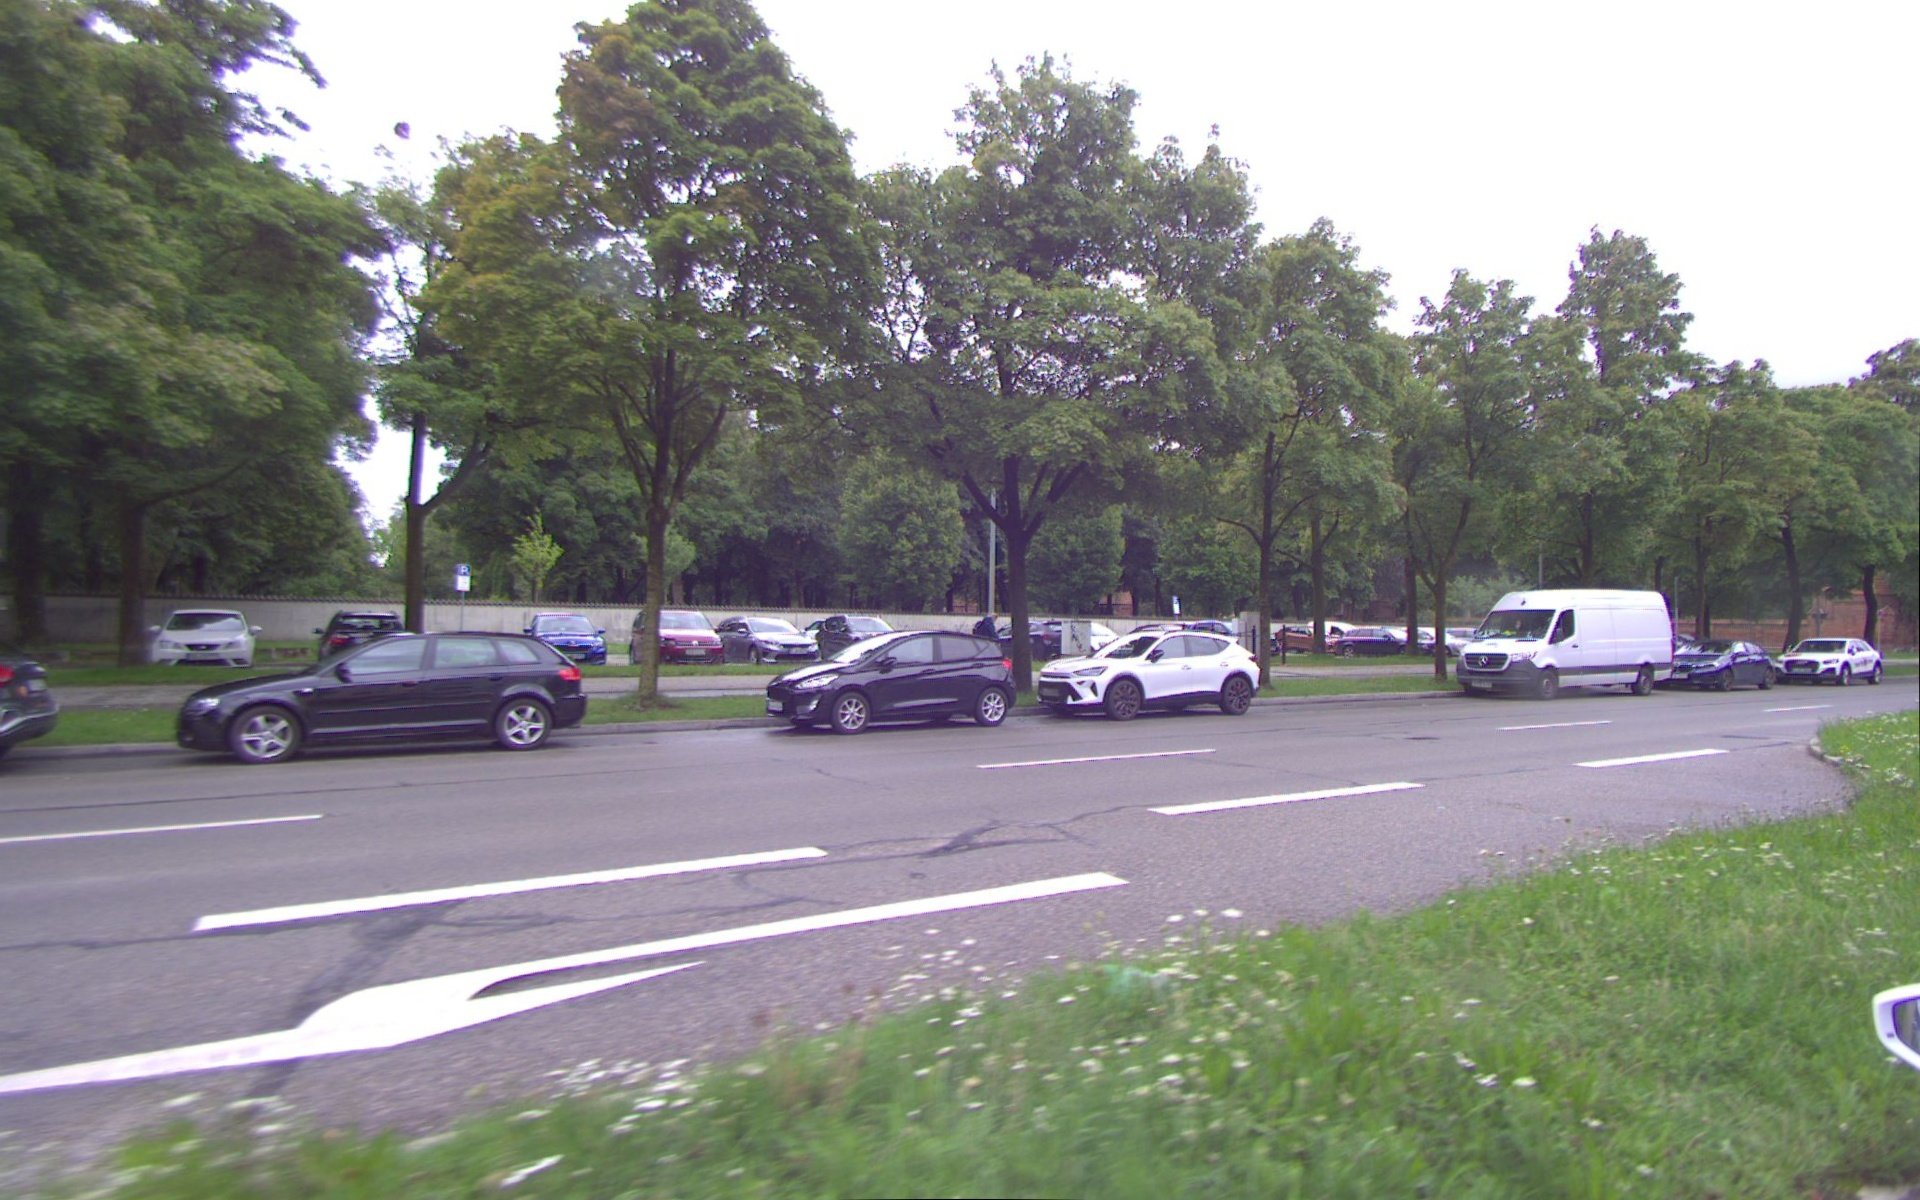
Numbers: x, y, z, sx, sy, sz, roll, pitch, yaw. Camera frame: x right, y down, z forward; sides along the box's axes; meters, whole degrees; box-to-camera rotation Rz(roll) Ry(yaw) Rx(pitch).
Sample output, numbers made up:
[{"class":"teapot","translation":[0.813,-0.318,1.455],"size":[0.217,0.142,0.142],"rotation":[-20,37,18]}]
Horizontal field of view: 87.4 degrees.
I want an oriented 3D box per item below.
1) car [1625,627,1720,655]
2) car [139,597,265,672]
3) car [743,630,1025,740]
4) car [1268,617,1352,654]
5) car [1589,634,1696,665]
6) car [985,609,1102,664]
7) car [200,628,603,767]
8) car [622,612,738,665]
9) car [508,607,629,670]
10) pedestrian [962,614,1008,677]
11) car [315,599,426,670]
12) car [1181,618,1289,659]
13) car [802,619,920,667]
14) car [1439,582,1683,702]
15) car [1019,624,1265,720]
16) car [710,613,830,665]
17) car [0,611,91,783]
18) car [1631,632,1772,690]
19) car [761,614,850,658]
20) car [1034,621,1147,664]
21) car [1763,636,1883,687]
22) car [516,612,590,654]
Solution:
[{"class":"car","translation":[39.408,2.252,55.666],"size":[1.738,1.410,3.959],"rotation":[1,-1,-29]},{"class":"car","translation":[-16.178,0.698,21.609],"size":[1.980,1.461,3.960],"rotation":[1,-1,-35]},{"class":"car","translation":[-1.109,1.215,15.361],"size":[3.960,1.466,1.810],"rotation":[2,-3,-35]},{"class":"car","translation":[20.586,2.069,59.207],"size":[1.977,2.061,4.483],"rotation":[1,-1,-30]},{"class":"car","translation":[36.304,2.614,53.528],"size":[1.977,1.524,4.328],"rotation":[1,-1,-30]},{"class":"car","translation":[2.525,1.108,31.408],"size":[1.792,1.591,3.971],"rotation":[1,-1,-28]},{"class":"car","translation":[-6.519,1.087,12.126],"size":[3.950,1.428,1.814],"rotation":[1,-3,-28]},{"class":"car","translation":[-7.452,0.971,26.480],"size":[1.724,1.301,3.960],"rotation":[2,-1,-35]},{"class":"car","translation":[-10.017,0.929,25.524],"size":[1.980,1.461,3.960],"rotation":[1,-1,-35]},{"class":"pedestrian","translation":[0.615,1.113,24.729],"size":[0.846,1.515,0.791],"rotation":[1,-1,-30]},{"class":"car","translation":[-13.435,0.735,22.838],"size":[1.978,1.461,4.112],"rotation":[1,-1,-32]},{"class":"car","translation":[10.266,1.411,37.772],"size":[1.790,1.457,3.975],"rotation":[1,-1,-25]},{"class":"car","translation":[-2.959,1.215,29.508],"size":[1.674,1.275,3.959],"rotation":[2,-1,-36]},{"class":"car","translation":[15.134,1.023,25.137],"size":[7.022,2.678,2.130],"rotation":[1,-2,-31]},{"class":"car","translation":[3.320,1.276,18.065],"size":[4.251,1.547,1.812],"rotation":[3,-3,-32]},{"class":"car","translation":[-5.284,1.030,27.591],"size":[1.724,1.301,3.959],"rotation":[2,-1,-36]},{"class":"car","translation":[-11.021,0.882,9.368],"size":[4.063,1.620,1.813],"rotation":[2,-1,-29]},{"class":"car","translation":[21.393,1.761,28.934],"size":[4.205,1.510,1.847],"rotation":[3,-2,-32]},{"class":"car","translation":[-6.253,1.395,40.252],"size":[1.977,1.647,4.483],"rotation":[1,-1,-30]},{"class":"car","translation":[4.431,1.442,34.613],"size":[1.795,1.356,3.965],"rotation":[1,-1,-32]},{"class":"car","translation":[28.283,2.010,32.902],"size":[4.096,1.510,1.847],"rotation":[3,-2,-32]},{"class":"car","translation":[-15.519,1.209,38.150],"size":[1.977,1.461,4.483],"rotation":[1,-1,-30]}]
